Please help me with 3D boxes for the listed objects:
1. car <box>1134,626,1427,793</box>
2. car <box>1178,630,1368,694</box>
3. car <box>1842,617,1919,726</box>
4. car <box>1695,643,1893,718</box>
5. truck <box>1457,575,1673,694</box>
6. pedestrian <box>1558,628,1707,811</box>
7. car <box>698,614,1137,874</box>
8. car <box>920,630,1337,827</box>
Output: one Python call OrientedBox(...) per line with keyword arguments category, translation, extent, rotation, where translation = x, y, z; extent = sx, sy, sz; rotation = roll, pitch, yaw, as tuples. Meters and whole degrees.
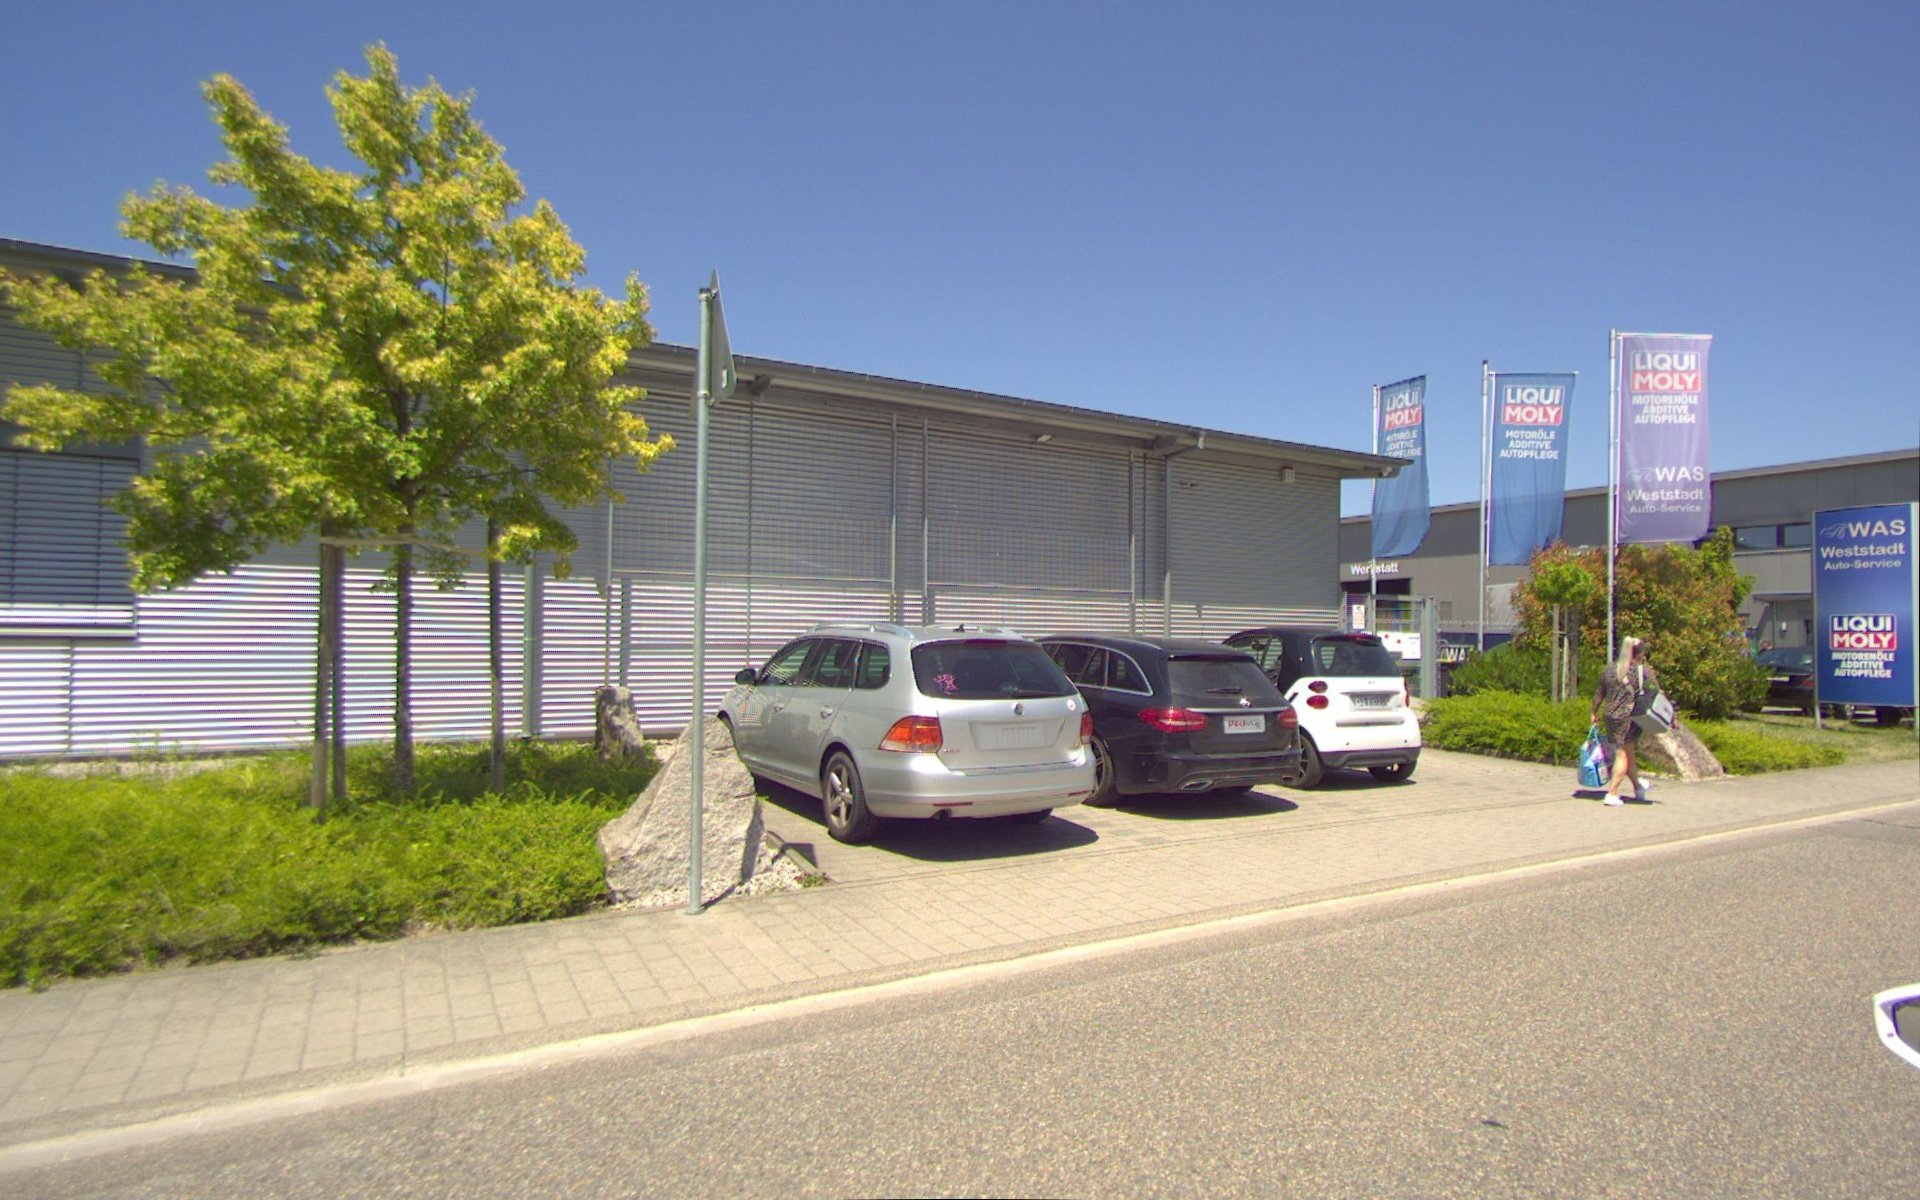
OrientedBox(category="car", translation=(3.369, 1.074, 10.913), extent=(1.518, 1.538, 2.728), rotation=(2, -2, -30))
OrientedBox(category="car", translation=(7.971, 1.546, 25.478), extent=(4.714, 1.435, 1.922), rotation=(2, -1, -30))
OrientedBox(category="car", translation=(19.586, 1.390, 19.666), extent=(5.157, 1.982, 1.984), rotation=(2, -2, -31))
OrientedBox(category="car", translation=(18.672, 1.756, 22.444), extent=(4.714, 1.435, 1.922), rotation=(2, -1, -30))
OrientedBox(category="truck", translation=(20.592, 1.110, 34.881), extent=(2.536, 3.604, 8.064), rotation=(1, -1, -1))
OrientedBox(category="pedestrian", translation=(6.340, 1.084, 9.493), extent=(0.776, 1.595, 0.895), rotation=(1, 0, -29))
OrientedBox(category="car", translation=(-0.642, 0.920, 8.261), extent=(1.844, 1.538, 4.242), rotation=(2, -2, -30))
OrientedBox(category="car", translation=(1.359, 1.049, 9.898), extent=(1.824, 1.450, 4.292), rotation=(2, -2, -28))
